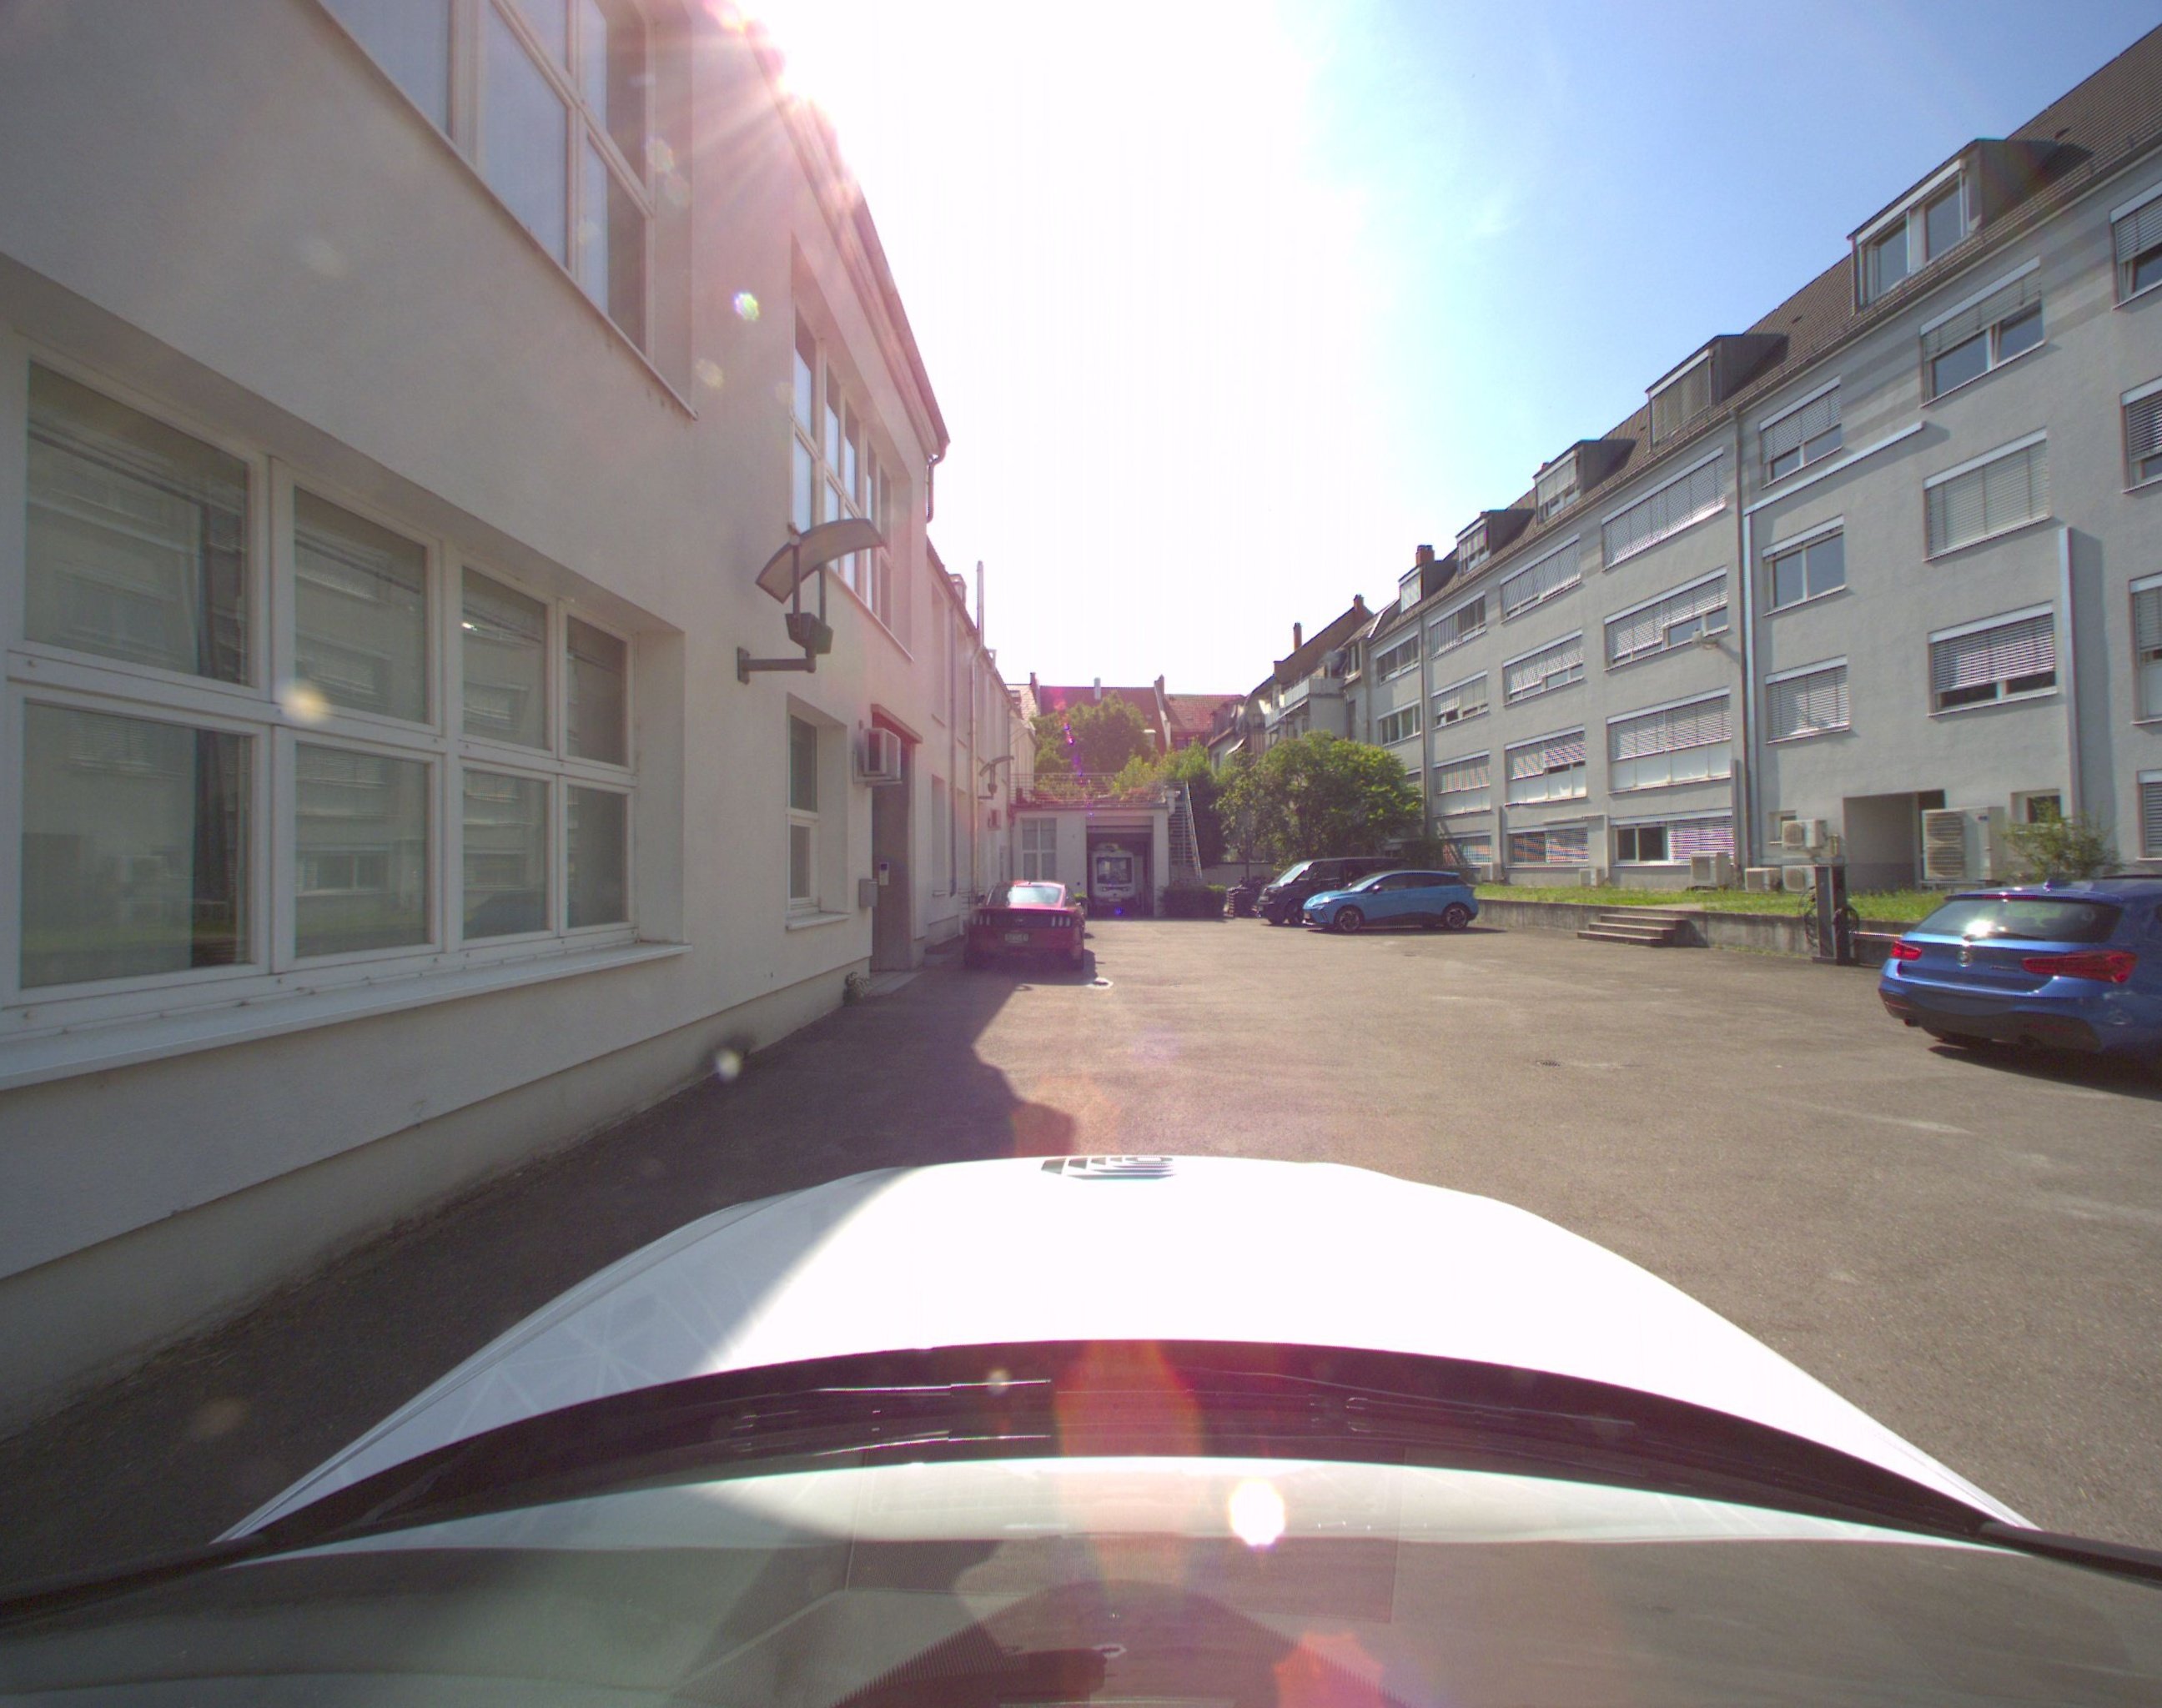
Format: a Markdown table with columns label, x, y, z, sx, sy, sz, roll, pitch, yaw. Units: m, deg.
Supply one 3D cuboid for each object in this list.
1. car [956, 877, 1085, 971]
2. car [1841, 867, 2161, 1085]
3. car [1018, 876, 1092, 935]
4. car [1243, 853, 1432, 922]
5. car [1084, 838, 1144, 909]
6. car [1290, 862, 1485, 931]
| label | x | y | z | sx | sy | sz | roll | pitch | yaw |
| --- | --- | --- | --- | --- | --- | --- | --- | --- | --- |
| car | -0.884 | 1.091 | 14.043 | 1.845 | 1.319 | 4.000 | 1 | -1 | 1 |
| car | 8.688 | 0.815 | 6.310 | 3.973 | 1.394 | 1.689 | -2 | -1 | 1 |
| car | -0.583 | 1.255 | 20.893 | 1.608 | 1.295 | 3.760 | -2 | -1 | 2 |
| car | 7.558 | 0.943 | 24.171 | 4.954 | 1.767 | 2.088 | -2 | 0 | -11 |
| car | 1.352 | 0.816 | 33.849 | 2.166 | 2.607 | 6.736 | -2 | -2 | 2 |
| car | 7.758 | 1.055 | 20.912 | 4.218 | 1.532 | 1.998 | -2 | 0 | -2 |
